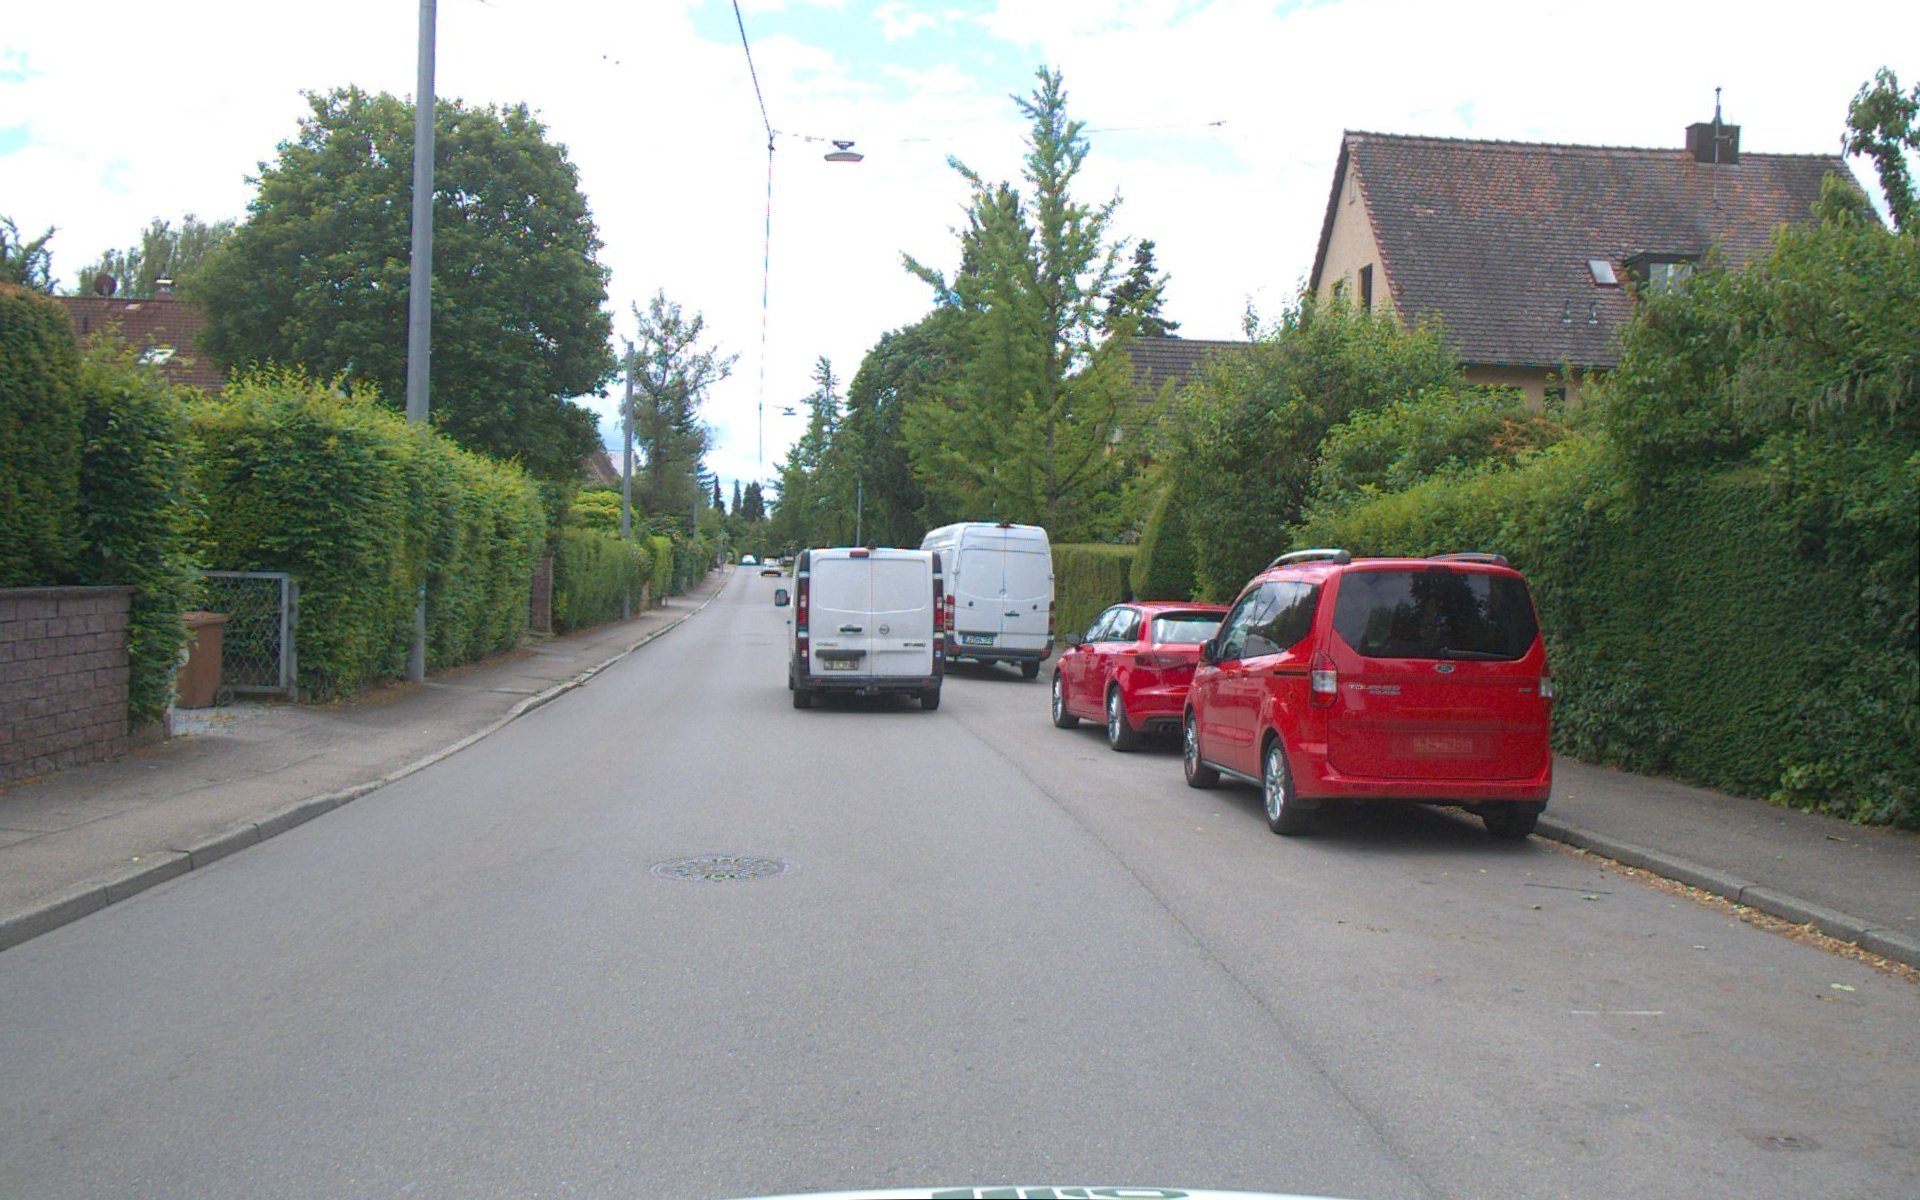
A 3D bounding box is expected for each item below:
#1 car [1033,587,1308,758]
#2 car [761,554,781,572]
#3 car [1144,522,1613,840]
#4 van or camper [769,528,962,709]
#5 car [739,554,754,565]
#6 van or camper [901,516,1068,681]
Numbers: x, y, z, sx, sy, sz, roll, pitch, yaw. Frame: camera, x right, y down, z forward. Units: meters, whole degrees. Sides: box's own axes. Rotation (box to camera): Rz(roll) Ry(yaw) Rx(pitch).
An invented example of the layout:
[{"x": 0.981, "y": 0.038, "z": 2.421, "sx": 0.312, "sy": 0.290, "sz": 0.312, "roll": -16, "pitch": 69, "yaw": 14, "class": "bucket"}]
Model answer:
[{"x": 2.033, "y": 0.654, "z": 17.257, "sx": 1.681, "sy": 1.493, "sz": 4.259, "roll": 1, "pitch": 1, "yaw": -10, "class": "car"}, {"x": -18.053, "y": -3.540, "z": 157.731, "sx": 1.743, "sy": 1.679, "sz": 3.638, "roll": 1, "pitch": 3, "yaw": -9, "class": "car"}, {"x": 2.732, "y": 0.437, "z": 12.119, "sx": 1.726, "sy": 1.828, "sz": 4.943, "roll": 1, "pitch": 1, "yaw": -6, "class": "car"}, {"x": -1.379, "y": 0.128, "z": 21.842, "sx": 1.889, "sy": 2.048, "sz": 4.818, "roll": 1, "pitch": 3, "yaw": -11, "class": "van or camper"}, {"x": -29.634, "y": -5.585, "z": 229.760, "sx": 1.654, "sy": 1.501, "sz": 3.582, "roll": 1, "pitch": 1, "yaw": 0, "class": "car"}, {"x": 0.305, "y": -0.064, "z": 31.019, "sx": 2.028, "sy": 2.721, "sz": 6.316, "roll": 2, "pitch": 0, "yaw": -9, "class": "van or camper"}]
